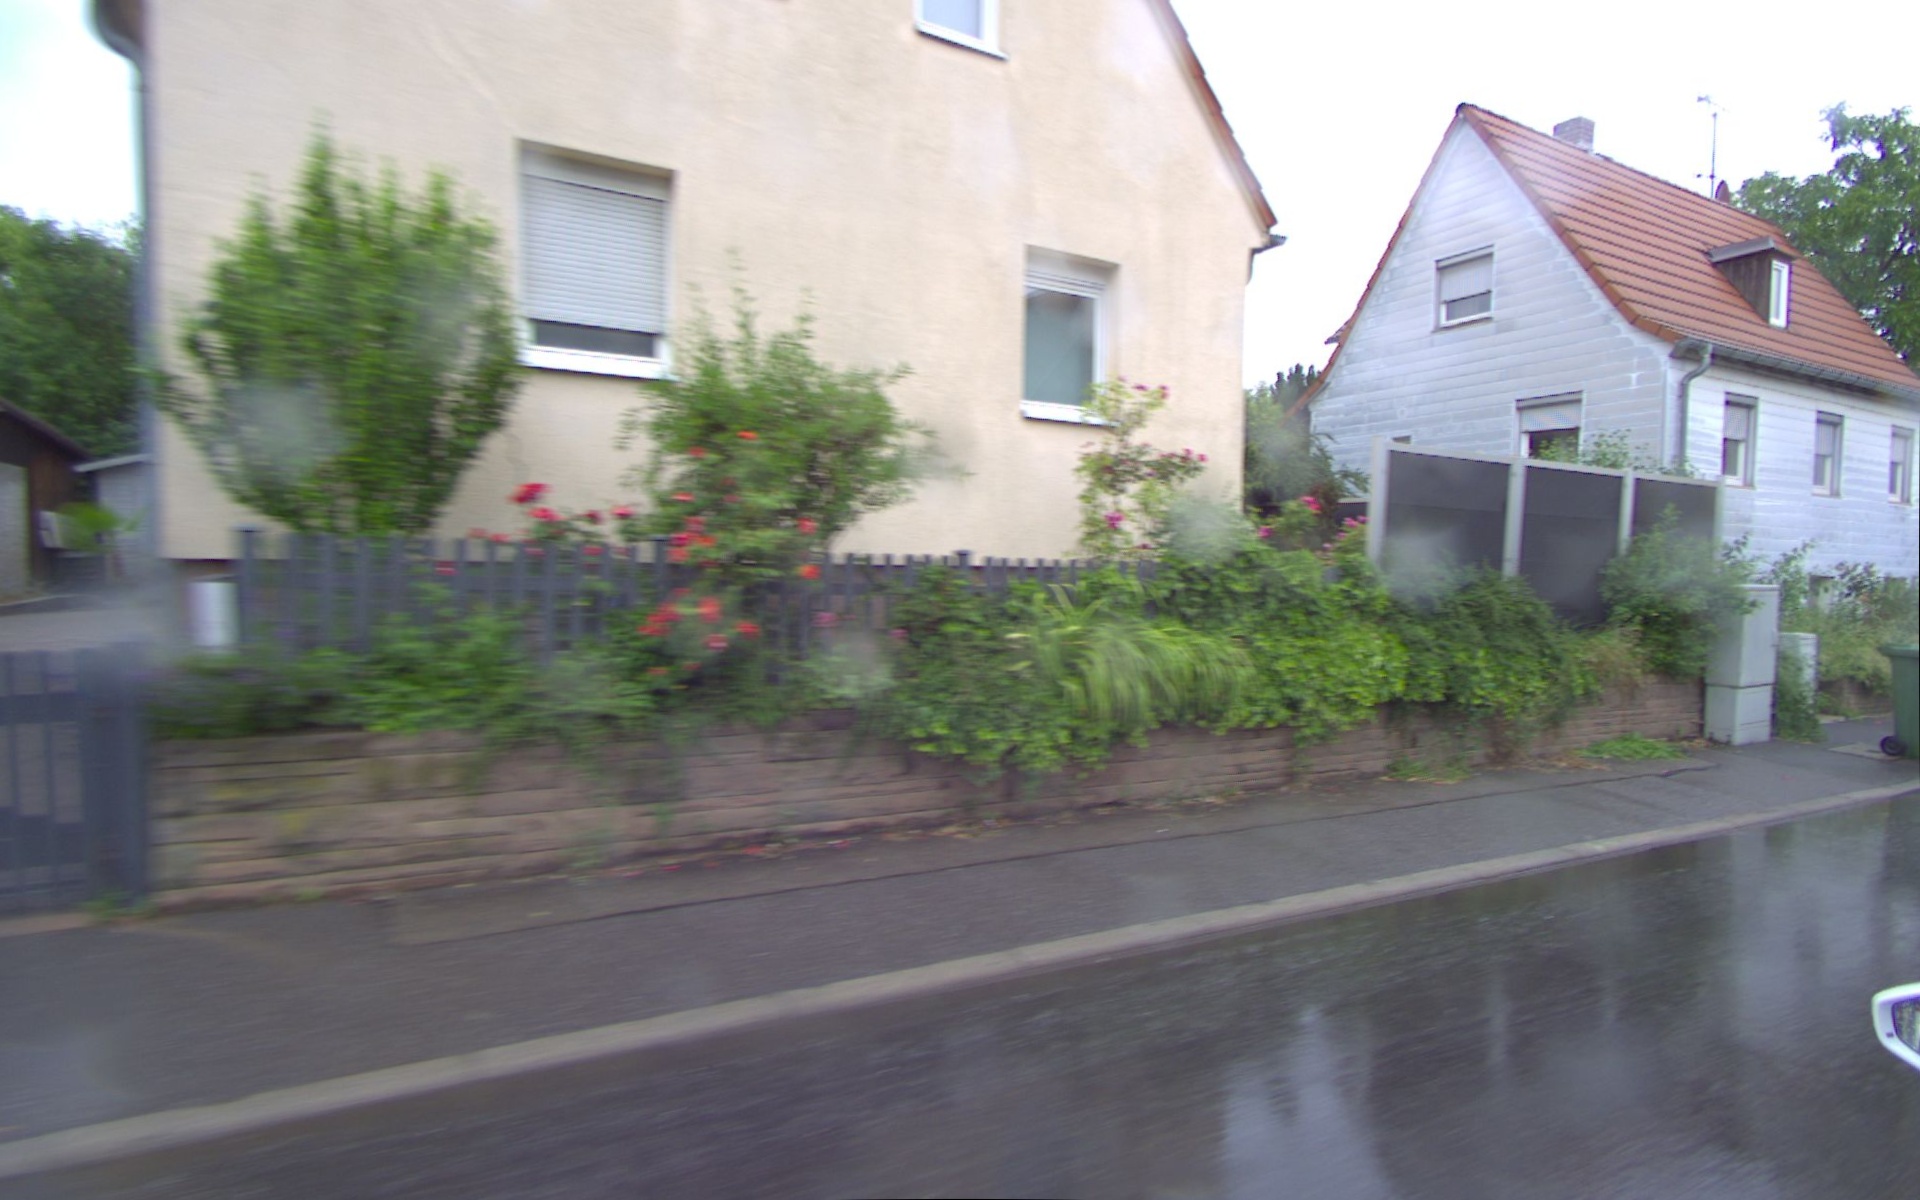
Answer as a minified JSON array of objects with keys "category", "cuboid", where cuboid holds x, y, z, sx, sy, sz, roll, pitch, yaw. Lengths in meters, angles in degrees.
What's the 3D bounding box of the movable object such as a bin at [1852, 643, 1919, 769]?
[{"category":"movable object such as a bin","cuboid":[8.926,0.983,9.459,0.521,1.097,0.550,0,5,-27]}]
